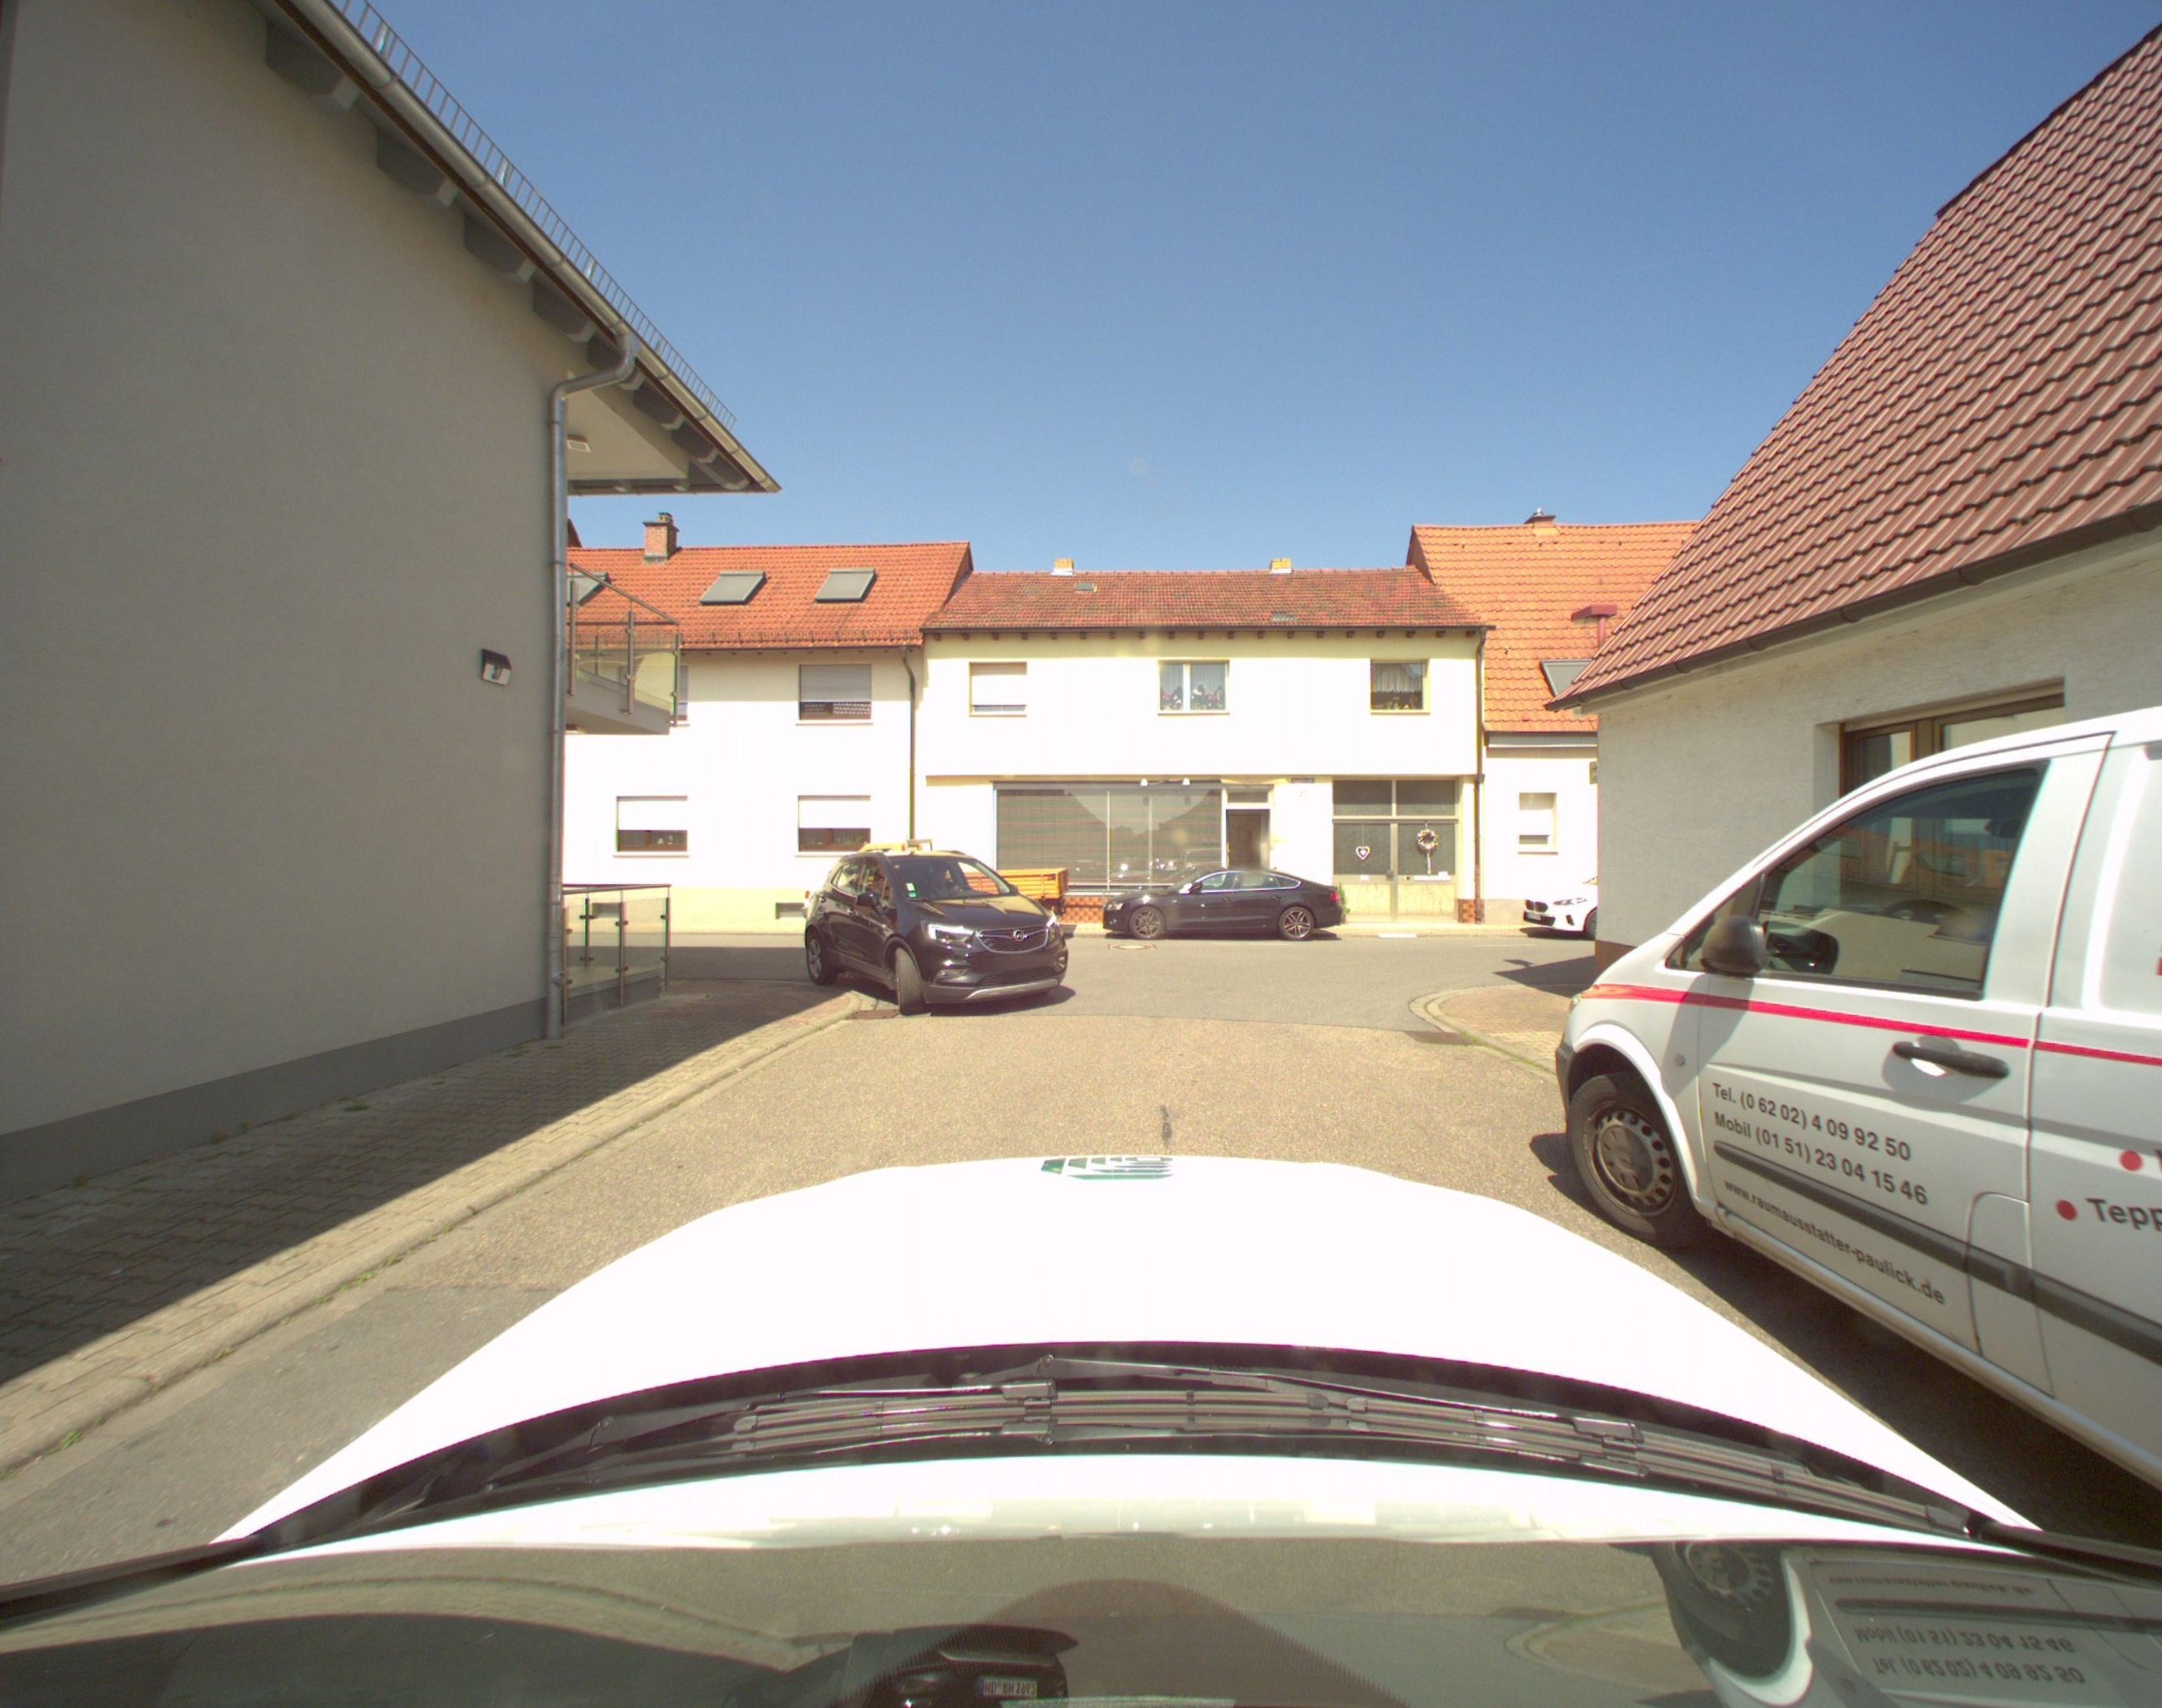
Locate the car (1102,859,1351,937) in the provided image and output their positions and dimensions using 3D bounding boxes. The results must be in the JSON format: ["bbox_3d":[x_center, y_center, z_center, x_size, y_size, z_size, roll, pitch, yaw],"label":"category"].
[{"bbox_3d":[2.742,0.870,16.135,4.598,1.394,1.928,1,-3,2],"label":"car"}]

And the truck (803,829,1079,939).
[{"bbox_3d":[-2.654,0.566,16.394,5.041,2.014,2.191,1,-1,3],"label":"truck"}]

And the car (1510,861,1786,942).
[{"bbox_3d":[11.026,0.892,16.093,4.183,1.454,1.790,1,-1,4],"label":"car"}]

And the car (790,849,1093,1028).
[{"bbox_3d":[-1.856,0.774,9.566,1.770,1.583,4.233,-1,0,-36],"label":"car"}]

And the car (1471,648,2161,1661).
[{"bbox_3d":[2.999,0.561,1.822,2.004,1.839,5.270,1,0,4],"label":"car"}]
